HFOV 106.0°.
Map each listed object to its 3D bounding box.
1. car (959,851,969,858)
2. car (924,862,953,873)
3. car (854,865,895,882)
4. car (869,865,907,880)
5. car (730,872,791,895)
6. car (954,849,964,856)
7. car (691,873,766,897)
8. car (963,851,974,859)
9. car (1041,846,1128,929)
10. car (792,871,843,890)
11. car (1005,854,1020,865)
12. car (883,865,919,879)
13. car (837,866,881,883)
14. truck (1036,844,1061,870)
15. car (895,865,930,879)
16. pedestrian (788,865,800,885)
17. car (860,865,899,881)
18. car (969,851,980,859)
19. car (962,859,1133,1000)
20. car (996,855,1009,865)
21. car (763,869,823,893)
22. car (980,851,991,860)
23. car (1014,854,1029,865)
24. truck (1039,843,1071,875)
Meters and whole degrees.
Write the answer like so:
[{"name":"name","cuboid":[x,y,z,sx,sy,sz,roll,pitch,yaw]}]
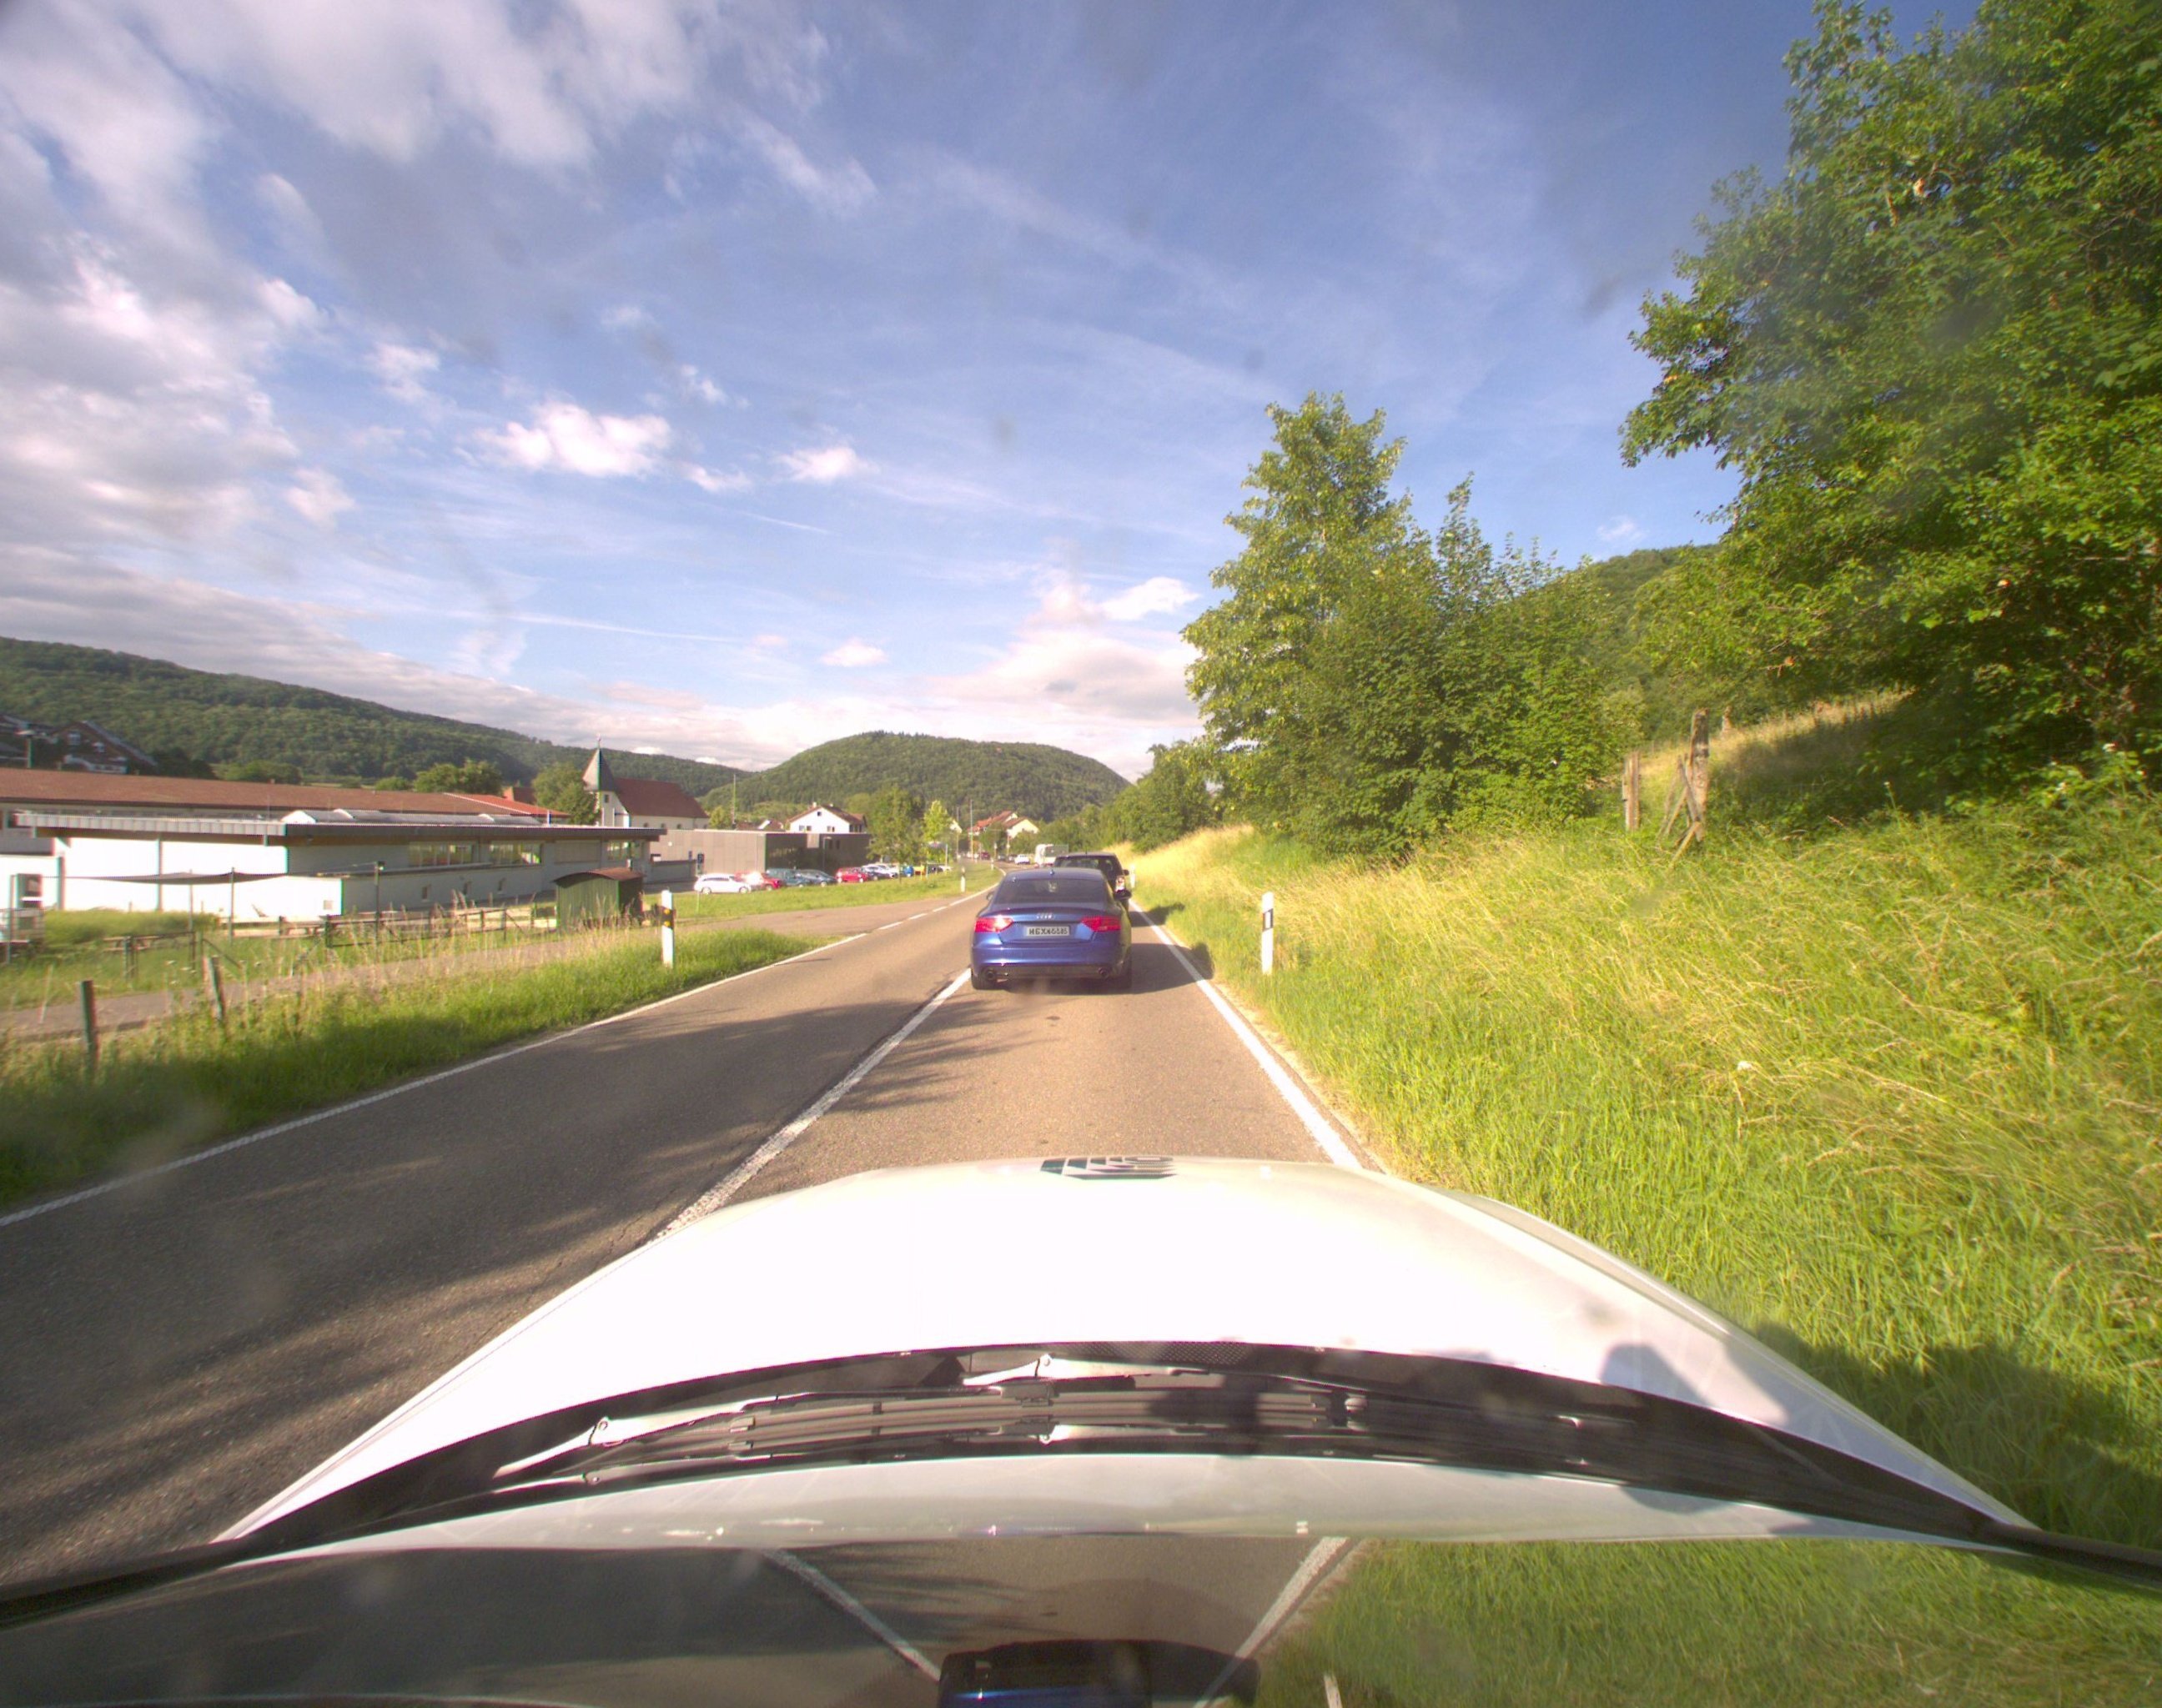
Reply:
[{"name":"car","cuboid":[-27.254,0.076,189.885,1.849,1.712,3.978,0,-1,-16]},{"name":"car","cuboid":[-20.809,1.947,119.262,3.975,1.579,1.752,0,-1,-1]},{"name":"car","cuboid":[-22.650,2.131,89.315,3.975,1.711,1.999,0,-1,-1]},{"name":"car","cuboid":[-22.801,2.196,96.264,3.975,1.711,1.999,0,-1,-1]},{"name":"car","cuboid":[-25.207,2.338,64.199,3.975,1.711,1.999,0,-1,-1]},{"name":"car","cuboid":[-29.586,-0.294,196.949,1.849,1.712,3.978,0,-1,-16]},{"name":"car","cuboid":[-26.430,2.320,61.218,4.716,1.711,1.999,0,-1,-1]},{"name":"car","cuboid":[-25.049,0.158,181.735,1.849,1.712,3.978,0,-1,-16]},{"name":"car","cuboid":[0.164,0.696,18.475,1.747,1.681,3.849,0,-1,3]},{"name":"car","cuboid":[-24.091,2.423,74.493,3.975,1.711,1.999,0,-1,-1]},{"name":"car","cuboid":[-10.853,0.865,129.124,1.847,1.712,3.982,0,-1,-13]},{"name":"car","cuboid":[-22.556,2.247,102.049,3.975,1.711,1.999,0,-1,-1]},{"name":"car","cuboid":[-23.094,2.092,84.774,3.975,1.711,1.999,0,-1,-1]},{"name":"truck","cuboid":[-3.344,0.335,83.300,2.226,2.570,6.695,0,-1,-5]},{"name":"car","cuboid":[-21.641,2.264,104.703,3.975,1.711,1.999,0,-1,-1]},{"name":"pedestrian","cuboid":[-29.409,2.188,83.550,0.822,2.014,0.973,0,-1,1]},{"name":"car","cuboid":[-23.008,2.167,92.983,3.975,1.711,1.999,0,-1,-1]},{"name":"car","cuboid":[-22.602,0.150,173.333,1.849,1.712,3.979,0,-1,-15]},{"name":"car","cuboid":[-0.251,0.789,10.254,1.747,1.430,3.849,0,-1,3]},{"name":"car","cuboid":[-13.819,1.017,143.139,1.847,1.712,3.982,0,-1,-13]},{"name":"car","cuboid":[-24.707,2.319,70.002,4.393,2.008,1.999,0,-1,-1]},{"name":"car","cuboid":[-19.183,0.282,163.296,1.848,1.712,3.980,0,-1,-14]},{"name":"car","cuboid":[-8.462,0.768,116.010,1.845,1.482,3.987,0,-1,-9]},{"name":"truck","cuboid":[-2.197,0.428,67.369,2.226,2.570,6.091,0,-1,-5]}]
